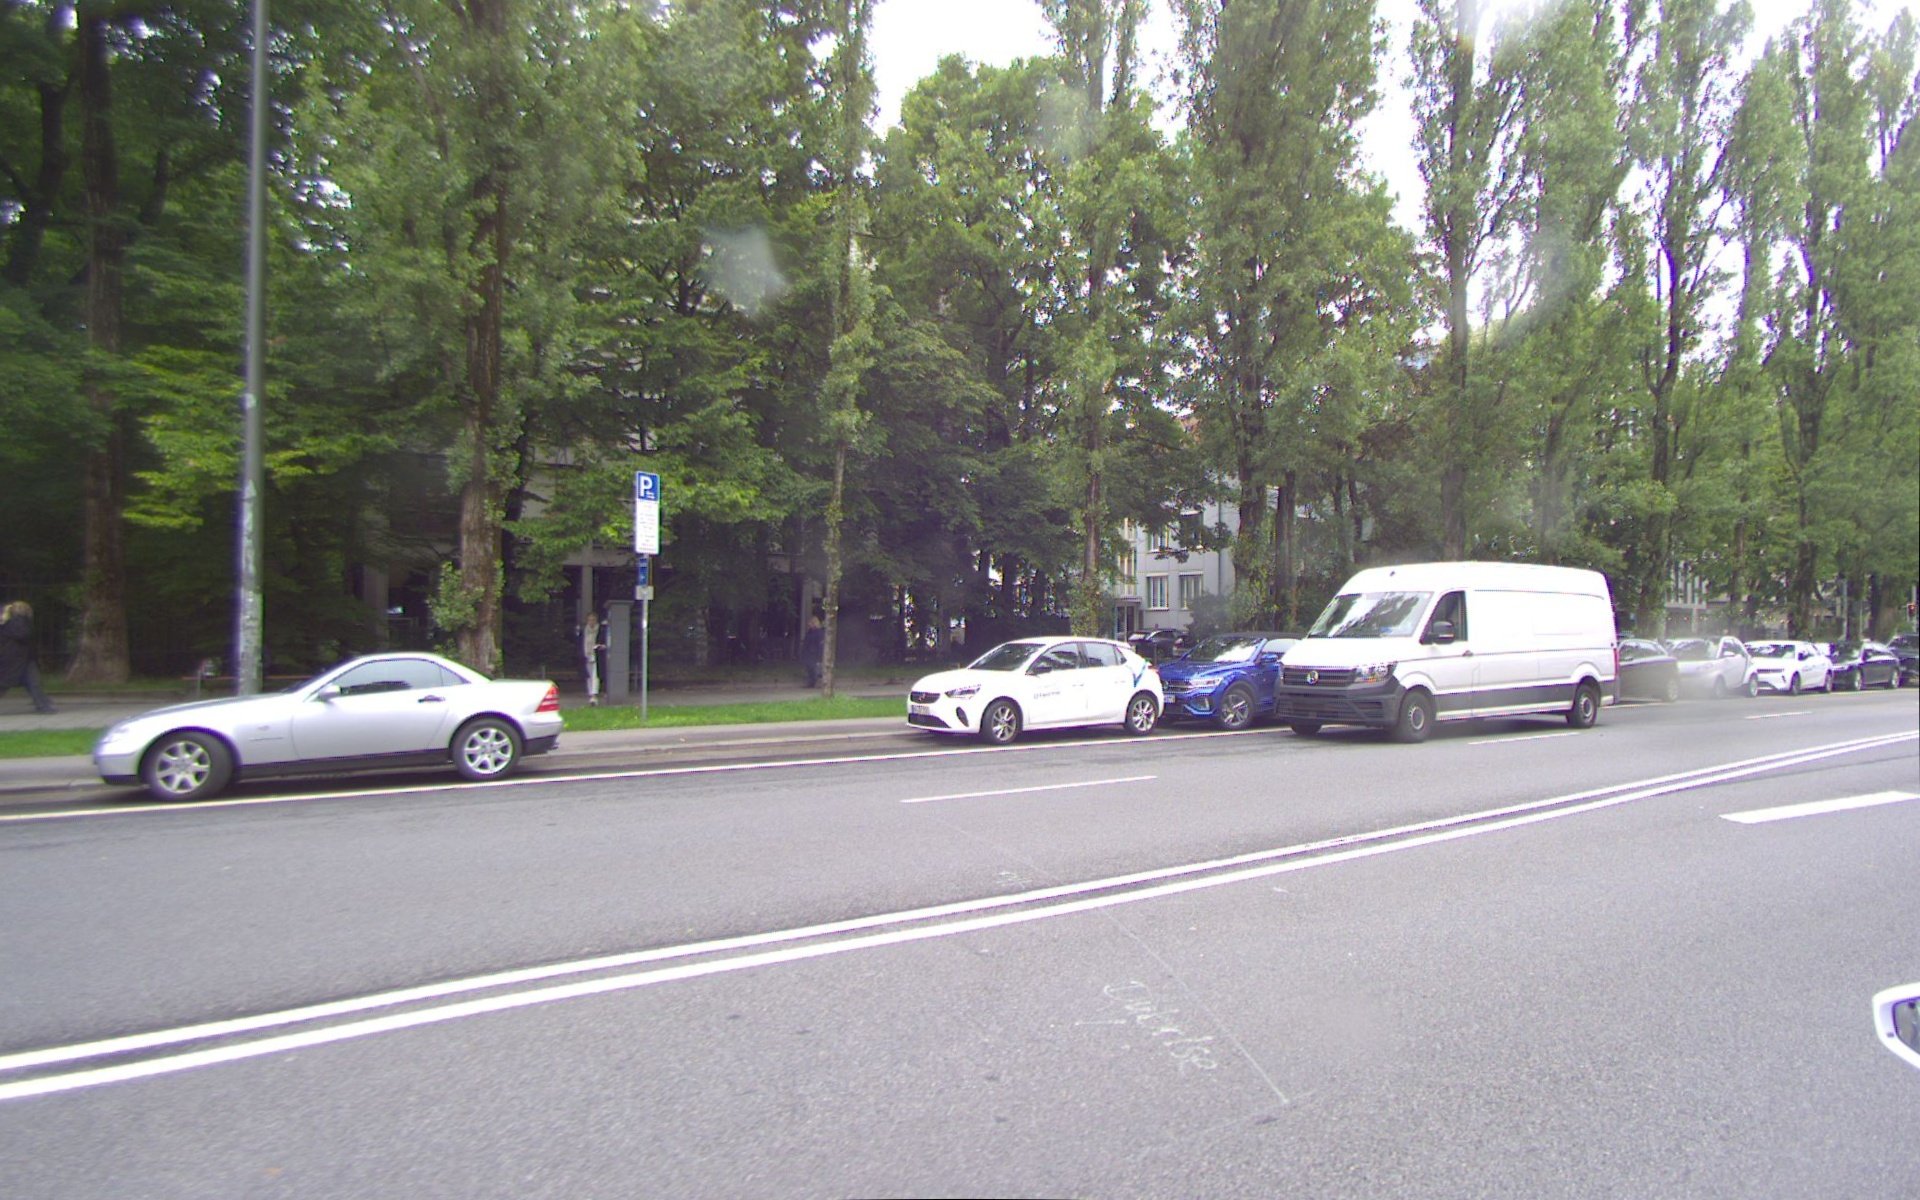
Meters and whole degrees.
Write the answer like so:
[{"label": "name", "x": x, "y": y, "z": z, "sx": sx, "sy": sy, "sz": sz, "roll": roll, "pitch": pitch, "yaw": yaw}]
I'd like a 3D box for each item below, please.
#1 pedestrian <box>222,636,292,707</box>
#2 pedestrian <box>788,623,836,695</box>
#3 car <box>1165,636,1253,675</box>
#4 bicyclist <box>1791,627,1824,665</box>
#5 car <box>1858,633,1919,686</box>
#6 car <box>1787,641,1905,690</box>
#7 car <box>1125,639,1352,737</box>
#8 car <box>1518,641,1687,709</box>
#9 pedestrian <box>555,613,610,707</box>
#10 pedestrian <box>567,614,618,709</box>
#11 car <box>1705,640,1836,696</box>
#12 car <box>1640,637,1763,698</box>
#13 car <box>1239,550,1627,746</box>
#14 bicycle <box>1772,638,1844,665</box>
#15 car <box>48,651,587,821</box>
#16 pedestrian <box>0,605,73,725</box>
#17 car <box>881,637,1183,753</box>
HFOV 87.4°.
[{"label": "pedestrian", "x": -12.525, "y": 1.254, "z": 17.917, "sx": 0.912, "sy": 1.194, "sz": 0.962, "roll": 1, "pitch": 0, "yaw": -30}, {"label": "pedestrian", "x": -3.424, "y": 1.356, "z": 23.254, "sx": 0.871, "sy": 1.620, "sz": 0.733, "roll": 1, "pitch": 0, "yaw": -30}, {"label": "car", "x": 12.253, "y": 2.691, "z": 49.320, "sx": 3.953, "sy": 1.795, "sz": 1.984, "roll": 1, "pitch": -1, "yaw": -30}, {"label": "bicyclist", "x": 40.024, "y": 2.161, "z": 47.451, "sx": 0.812, "sy": 1.745, "sz": 0.904, "roll": 1, "pitch": -1, "yaw": -20}, {"label": "car", "x": 31.866, "y": 1.949, "z": 33.391, "sx": 4.645, "sy": 1.675, "sz": 1.839, "roll": 1, "pitch": -4, "yaw": -33}, {"label": "car", "x": 26.875, "y": 1.958, "z": 30.448, "sx": 4.122, "sy": 1.407, "sz": 1.614, "roll": 1, "pitch": -4, "yaw": -33}, {"label": "car", "x": 4.680, "y": 1.402, "z": 16.794, "sx": 3.546, "sy": 1.470, "sz": 1.700, "roll": 1, "pitch": -3, "yaw": -32}, {"label": "car", "x": 14.614, "y": 1.670, "z": 22.830, "sx": 3.804, "sy": 1.444, "sz": 1.594, "roll": 1, "pitch": -4, "yaw": -29}, {"label": "pedestrian", "x": -7.430, "y": 1.161, "z": 19.780, "sx": 0.879, "sy": 1.795, "sz": 0.733, "roll": 1, "pitch": 0, "yaw": -30}, {"label": "pedestrian", "x": -6.713, "y": 1.112, "z": 18.334, "sx": 0.742, "sy": 1.686, "sz": 0.735, "roll": 1, "pitch": -2, "yaw": -29}, {"label": "car", "x": 22.258, "y": 1.828, "z": 27.547, "sx": 4.124, "sy": 1.407, "sz": 1.614, "roll": 1, "pitch": -4, "yaw": -34}, {"label": "car", "x": 18.682, "y": 1.688, "z": 25.305, "sx": 2.932, "sy": 1.466, "sz": 1.421, "roll": 1, "pitch": -4, "yaw": -31}, {"label": "car", "x": 7.526, "y": 0.733, "z": 15.649, "sx": 6.684, "sy": 2.515, "sz": 2.216, "roll": 1, "pitch": -3, "yaw": -33}, {"label": "bicycle", "x": 40.014, "y": 2.418, "z": 47.442, "sx": 0.800, "sy": 1.254, "sz": 2.532, "roll": 1, "pitch": -2, "yaw": -20}, {"label": "car", "x": -6.109, "y": 1.223, "z": 10.091, "sx": 4.185, "sy": 1.351, "sz": 1.818, "roll": 1, "pitch": -4, "yaw": -31}, {"label": "pedestrian", "x": -14.130, "y": 0.970, "z": 15.165, "sx": 0.946, "sy": 1.764, "sz": 0.663, "roll": 1, "pitch": -1, "yaw": -30}, {"label": "car", "x": 1.106, "y": 1.309, "z": 14.732, "sx": 4.187, "sy": 1.471, "sz": 1.761, "roll": 1, "pitch": -4, "yaw": -32}]
